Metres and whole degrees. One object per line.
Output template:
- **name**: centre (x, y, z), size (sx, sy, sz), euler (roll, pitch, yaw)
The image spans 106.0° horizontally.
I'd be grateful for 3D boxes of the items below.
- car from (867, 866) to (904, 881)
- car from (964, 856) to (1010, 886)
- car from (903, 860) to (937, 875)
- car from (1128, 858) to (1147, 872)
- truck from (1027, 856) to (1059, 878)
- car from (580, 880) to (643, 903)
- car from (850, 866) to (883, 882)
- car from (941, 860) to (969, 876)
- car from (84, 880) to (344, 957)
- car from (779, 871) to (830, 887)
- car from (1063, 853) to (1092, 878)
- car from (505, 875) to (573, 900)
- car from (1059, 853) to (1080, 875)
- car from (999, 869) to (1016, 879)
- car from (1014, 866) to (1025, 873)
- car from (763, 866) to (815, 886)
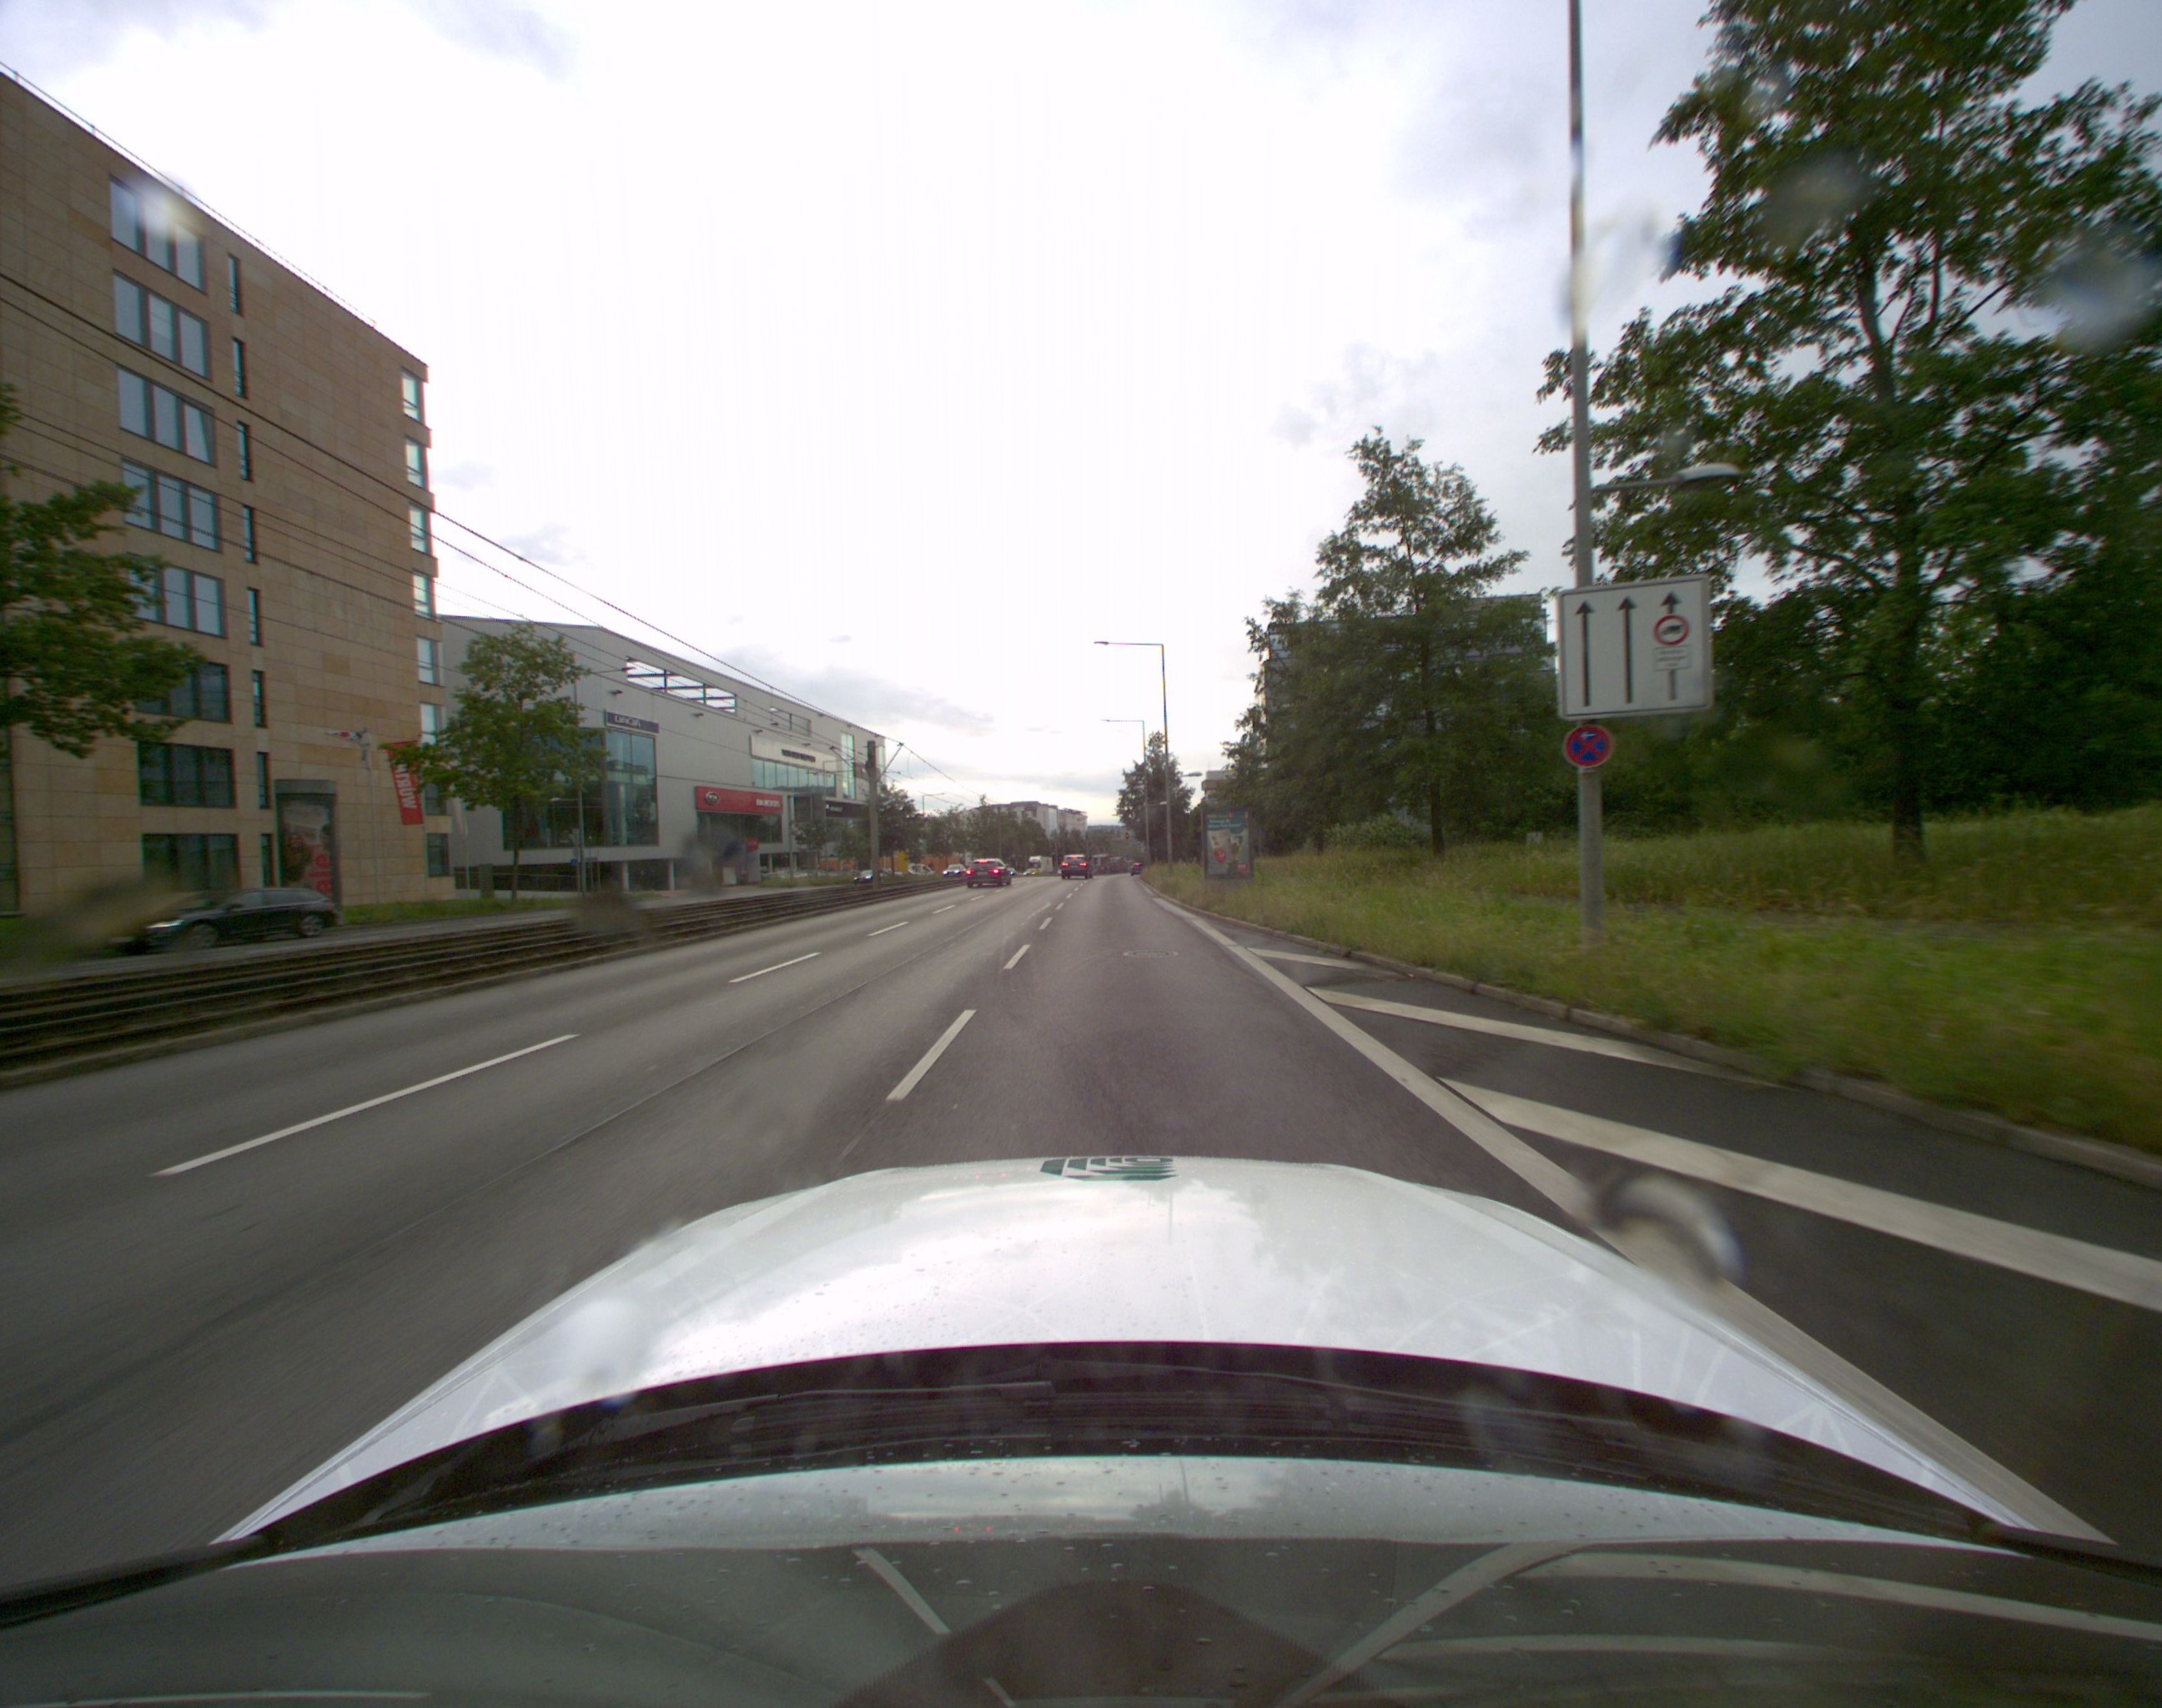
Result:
- **car**: centre (-27.027, 2.698, 112.504), size (4.587, 1.976, 2.019), euler (-2, -2, -1)
- **car**: centre (-4.769, 0.824, 41.870), size (1.780, 1.414, 4.805), euler (-1, 0, 0)
- **car**: centre (-25.955, 2.228, 131.426), size (5.314, 2.313, 2.009), euler (0, -2, -16)
- **car**: centre (6.623, 1.319, 96.469), size (1.784, 1.591, 3.997), euler (-2, -1, -2)
- **truck**: centre (-7.404, 2.444, 162.313), size (3.024, 4.181, 17.241), euler (-1, 0, 8)
- **car**: centre (-37.535, 2.969, 65.288), size (1.985, 1.725, 4.943), euler (0, -1, 2)
- **car**: centre (-19.806, 1.845, 75.409), size (1.660, 1.462, 4.243), euler (0, -2, 4)
- **car**: centre (-13.312, 1.506, 86.164), size (1.795, 1.616, 4.394), euler (-1, -2, 7)
- **car**: centre (-22.232, 1.587, 21.218), size (1.834, 1.486, 4.432), euler (-5, 0, 2)
- **car**: centre (-30.035, 2.699, 88.533), size (5.010, 1.654, 2.010), euler (-1, -2, -15)
- **car**: centre (-0.299, 0.773, 56.678), size (1.917, 1.710, 4.095), euler (0, 0, -2)
- **car**: centre (-42.990, 2.637, 64.758), size (1.987, 1.792, 4.940), euler (0, -1, 0)
- **car**: centre (-1.260, 1.084, 88.426), size (2.262, 2.285, 4.756), euler (0, 0, -2)
- **car**: centre (-10.559, 2.880, 117.356), size (1.660, 1.462, 4.243), euler (0, -2, 4)
- **car**: centre (-13.495, 3.416, 179.141), size (1.660, 1.462, 4.243), euler (0, -2, 4)
- **car**: centre (-29.304, 2.186, 81.872), size (4.630, 1.827, 2.010), euler (-1, -2, -15)
